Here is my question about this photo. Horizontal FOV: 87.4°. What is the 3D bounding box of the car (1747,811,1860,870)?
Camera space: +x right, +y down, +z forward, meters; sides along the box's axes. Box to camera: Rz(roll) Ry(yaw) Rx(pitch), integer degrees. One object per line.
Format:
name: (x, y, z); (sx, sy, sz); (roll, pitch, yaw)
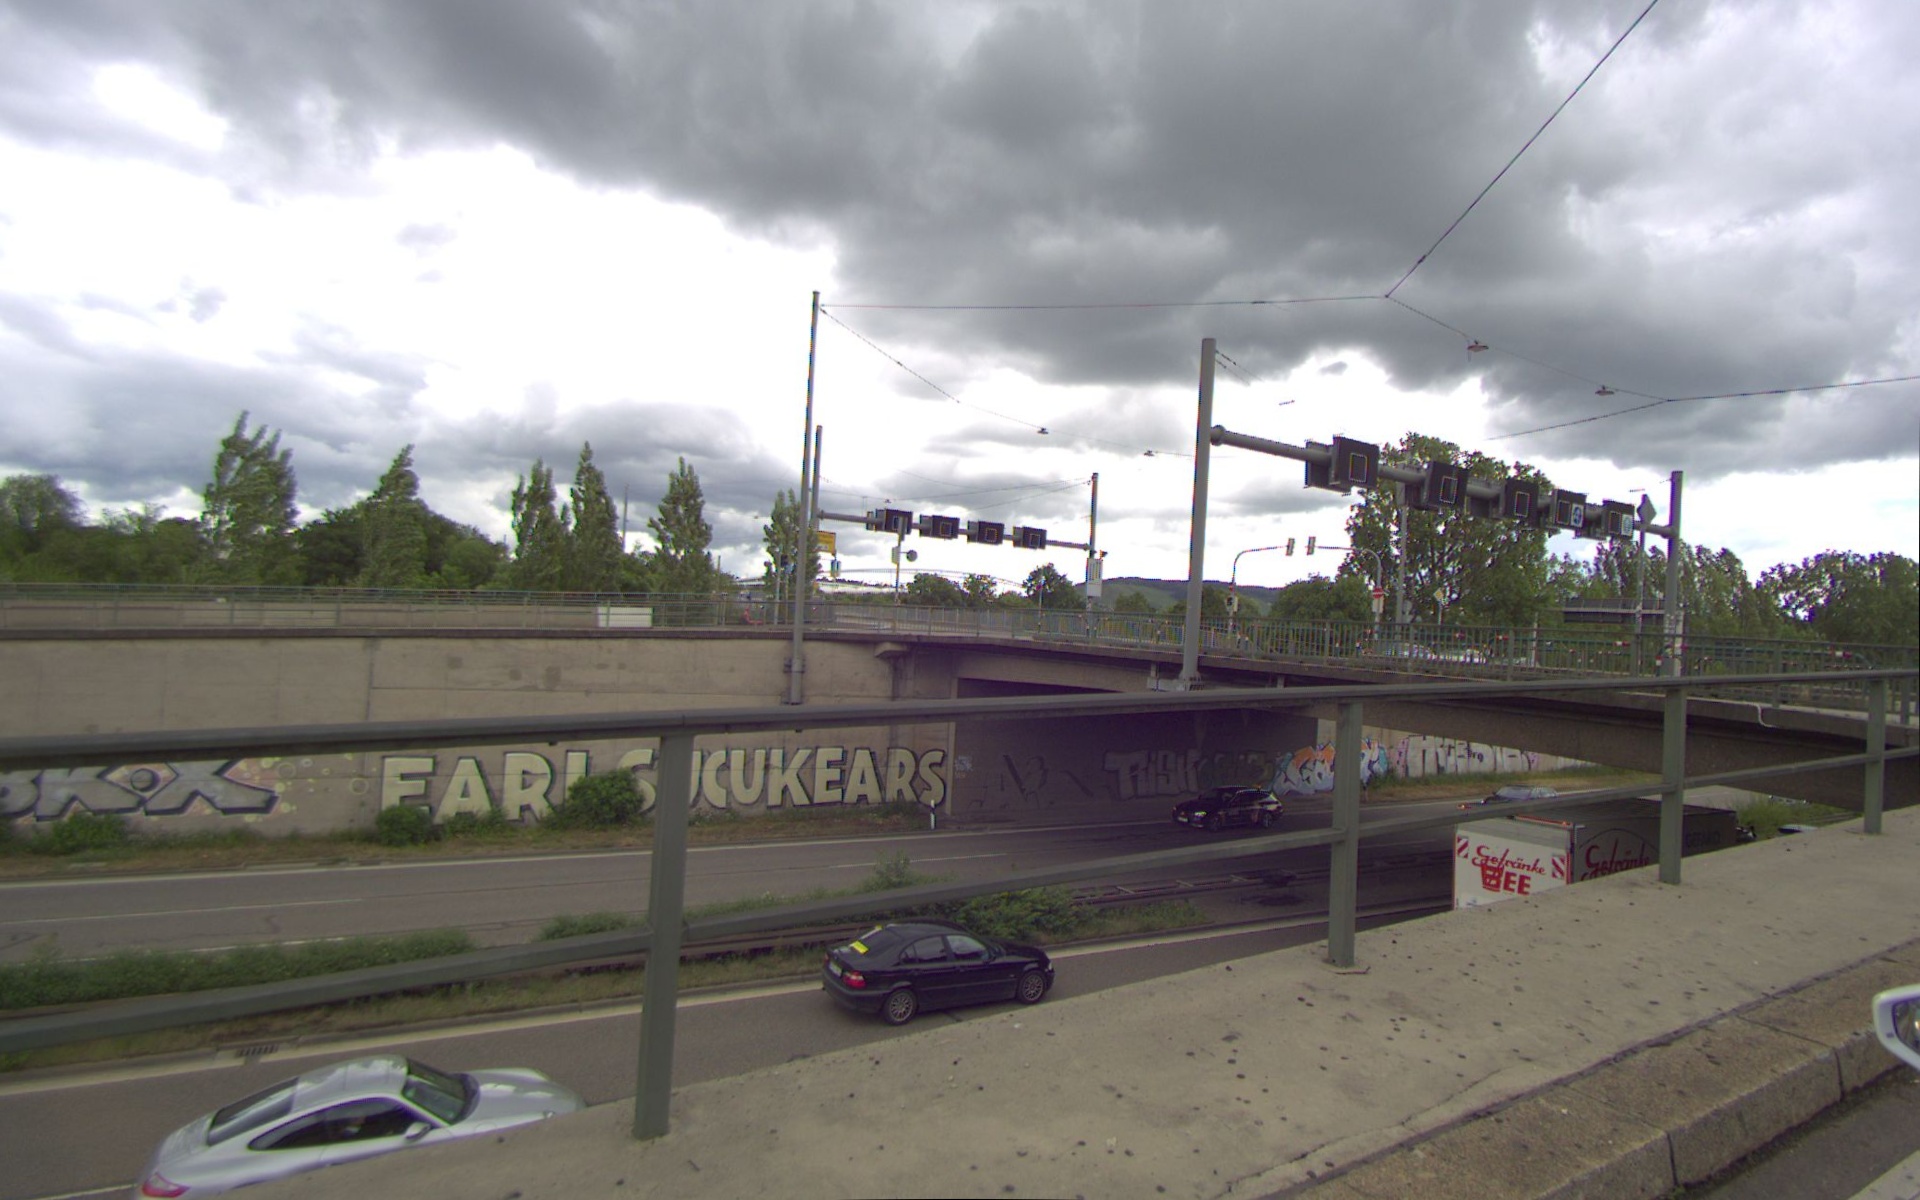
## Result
car: (31.313, 8.880, 37.280); (4.133, 1.599, 1.822); (4, -2, -29)

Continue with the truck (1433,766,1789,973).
truck: (15.438, 5.913, 23.500); (9.757, 3.570, 2.870); (4, -4, -30)

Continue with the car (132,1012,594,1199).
car: (-6.421, 5.835, 11.228); (4.104, 1.318, 1.778); (5, -4, -29)

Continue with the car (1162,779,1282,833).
car: (10.297, 8.013, 39.344); (4.581, 1.673, 1.851); (5, -3, -30)

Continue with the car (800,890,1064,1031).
car: (-0.467, 6.384, 18.164); (4.372, 1.484, 1.850); (5, -2, -29)
